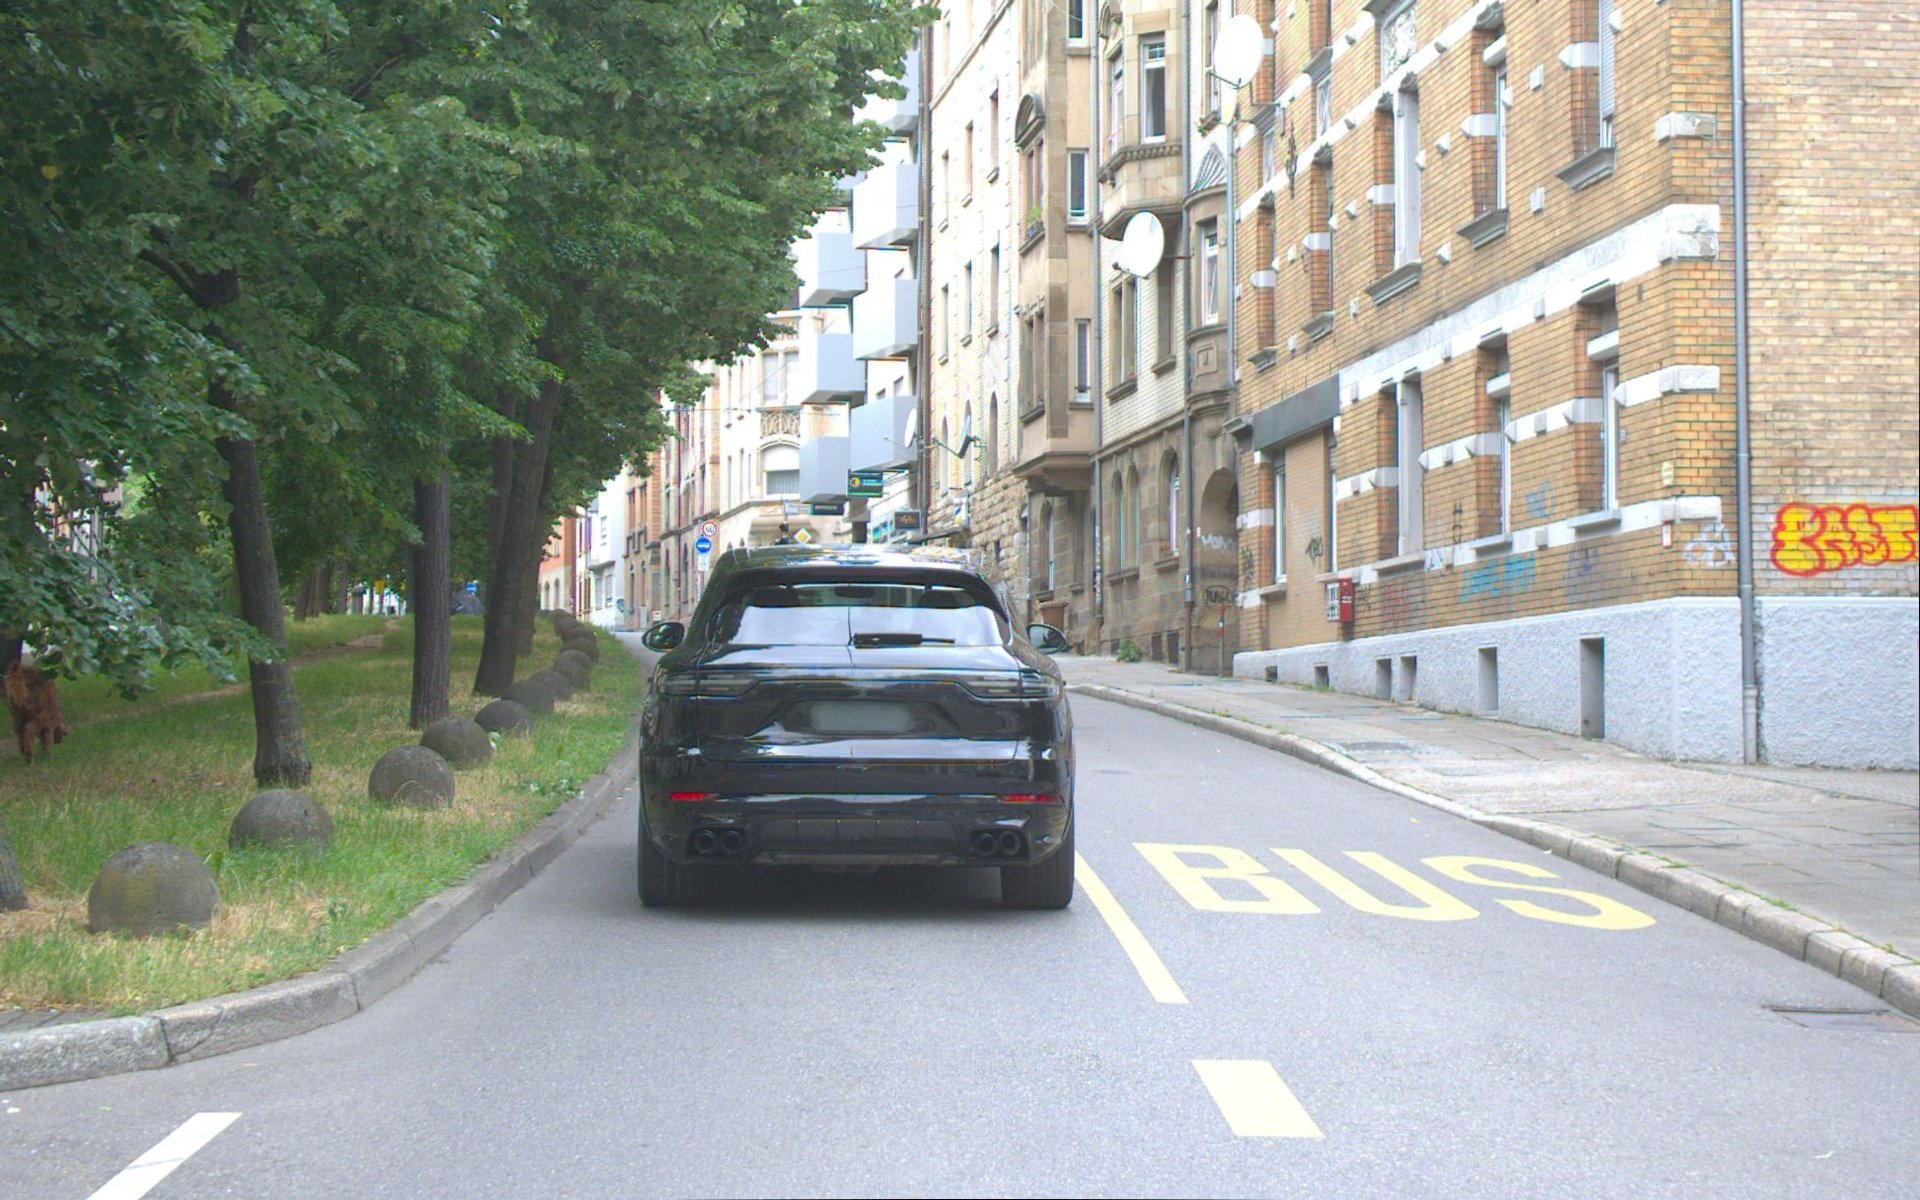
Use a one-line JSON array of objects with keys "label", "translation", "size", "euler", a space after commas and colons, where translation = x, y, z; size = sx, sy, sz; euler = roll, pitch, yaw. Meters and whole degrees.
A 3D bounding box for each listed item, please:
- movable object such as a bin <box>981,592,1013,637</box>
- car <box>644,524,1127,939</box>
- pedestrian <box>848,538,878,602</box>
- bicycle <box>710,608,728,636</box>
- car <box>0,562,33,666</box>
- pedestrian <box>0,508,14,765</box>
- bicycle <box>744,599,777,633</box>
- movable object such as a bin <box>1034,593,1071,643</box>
[{"label": "movable object such as a bin", "translation": [0.764, 0.304, 71.788], "size": [0.594, 0.901, 0.503], "euler": [1, -4, -6]}, {"label": "car", "translation": [-0.430, 0.518, 16.576], "size": [1.993, 1.660, 4.001], "euler": [2, 2, -3]}, {"label": "pedestrian", "translation": [-2.600, -0.812, 92.068], "size": [0.751, 1.687, 0.858], "euler": [0, -1, -7]}, {"label": "bicycle", "translation": [-9.360, 0.855, 133.617], "size": [0.446, 1.033, 2.249], "euler": [0, -2, -10]}, {"label": "car", "translation": [-13.911, 0.238, 46.039], "size": [1.758, 1.377, 4.669], "euler": [-1, 2, -1]}, {"label": "pedestrian", "translation": [-6.747, 0.250, 22.354], "size": [0.833, 1.706, 1.123], "euler": [-3, -1, -2]}, {"label": "bicycle", "translation": [-7.132, 0.574, 122.707], "size": [0.879, 1.125, 2.980], "euler": [1, -1, -9]}, {"label": "movable object such as a bin", "translation": [1.702, 0.325, 63.224], "size": [0.594, 0.901, 0.563], "euler": [1, 0, -6]}]
